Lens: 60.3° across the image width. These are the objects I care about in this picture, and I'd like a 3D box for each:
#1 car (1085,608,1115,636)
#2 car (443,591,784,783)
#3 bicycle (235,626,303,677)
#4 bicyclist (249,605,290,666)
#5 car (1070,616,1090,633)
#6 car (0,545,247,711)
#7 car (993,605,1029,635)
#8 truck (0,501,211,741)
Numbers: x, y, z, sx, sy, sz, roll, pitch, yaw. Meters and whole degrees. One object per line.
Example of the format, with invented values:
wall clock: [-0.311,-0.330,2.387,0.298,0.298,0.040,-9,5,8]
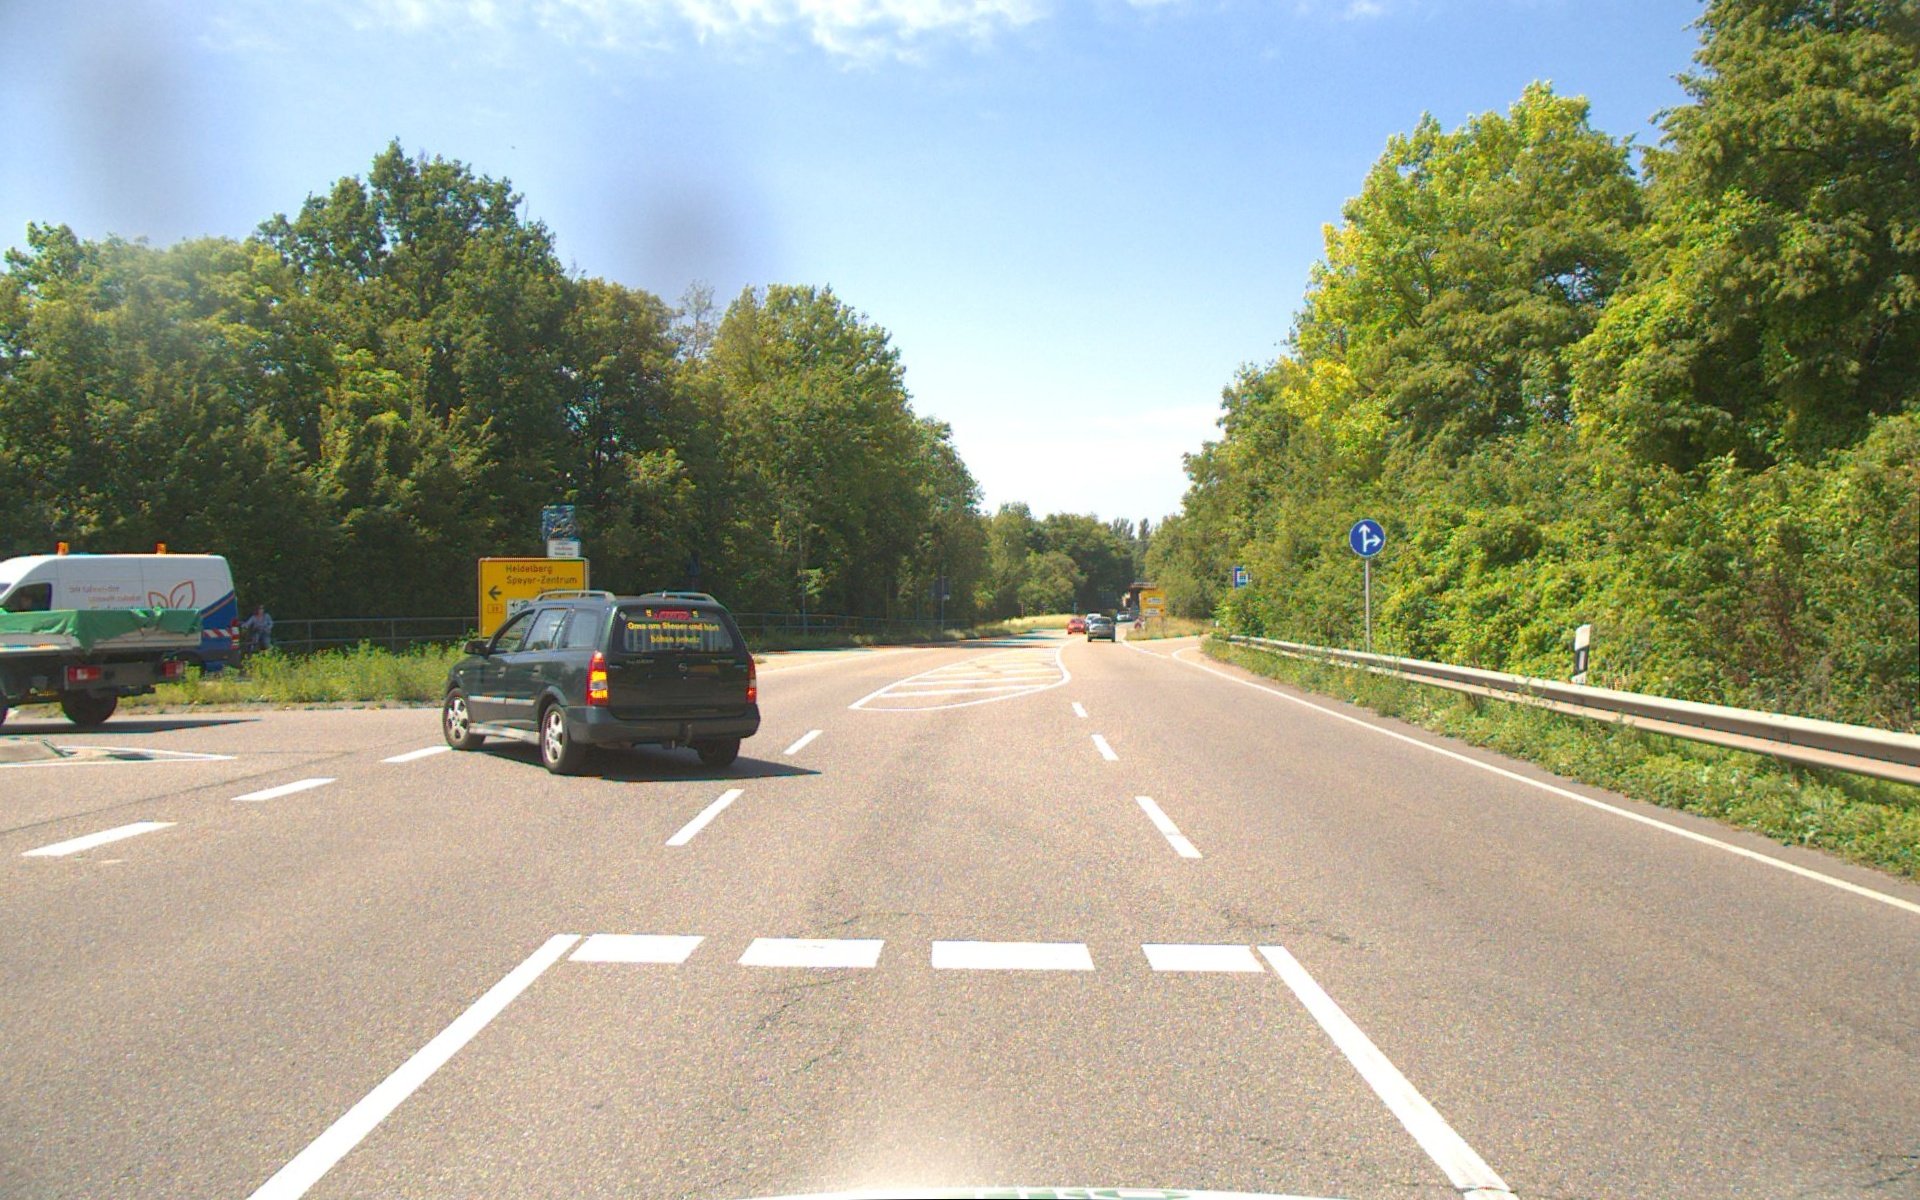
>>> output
car: [8.853,1.380,104.730,1.804,1.714,4.002,0,0,4]
car: [-3.224,0.668,14.885,1.706,1.482,3.751,0,0,-35]
bicycle: [-16.065,1.181,38.477,0.427,1.133,1.478,-1,0,32]
bicyclist: [-16.067,0.826,38.489,0.675,1.387,0.607,0,0,33]
car: [11.281,2.290,155.229,1.771,1.483,3.760,0,0,6]
car: [-16.654,0.501,30.775,2.071,2.900,5.985,0,0,37]
car: [5.591,2.168,181.741,1.971,3.282,4.765,0,0,-28]
truck: [-12.606,0.356,19.829,6.476,2.610,2.148,-2,-1,10]
